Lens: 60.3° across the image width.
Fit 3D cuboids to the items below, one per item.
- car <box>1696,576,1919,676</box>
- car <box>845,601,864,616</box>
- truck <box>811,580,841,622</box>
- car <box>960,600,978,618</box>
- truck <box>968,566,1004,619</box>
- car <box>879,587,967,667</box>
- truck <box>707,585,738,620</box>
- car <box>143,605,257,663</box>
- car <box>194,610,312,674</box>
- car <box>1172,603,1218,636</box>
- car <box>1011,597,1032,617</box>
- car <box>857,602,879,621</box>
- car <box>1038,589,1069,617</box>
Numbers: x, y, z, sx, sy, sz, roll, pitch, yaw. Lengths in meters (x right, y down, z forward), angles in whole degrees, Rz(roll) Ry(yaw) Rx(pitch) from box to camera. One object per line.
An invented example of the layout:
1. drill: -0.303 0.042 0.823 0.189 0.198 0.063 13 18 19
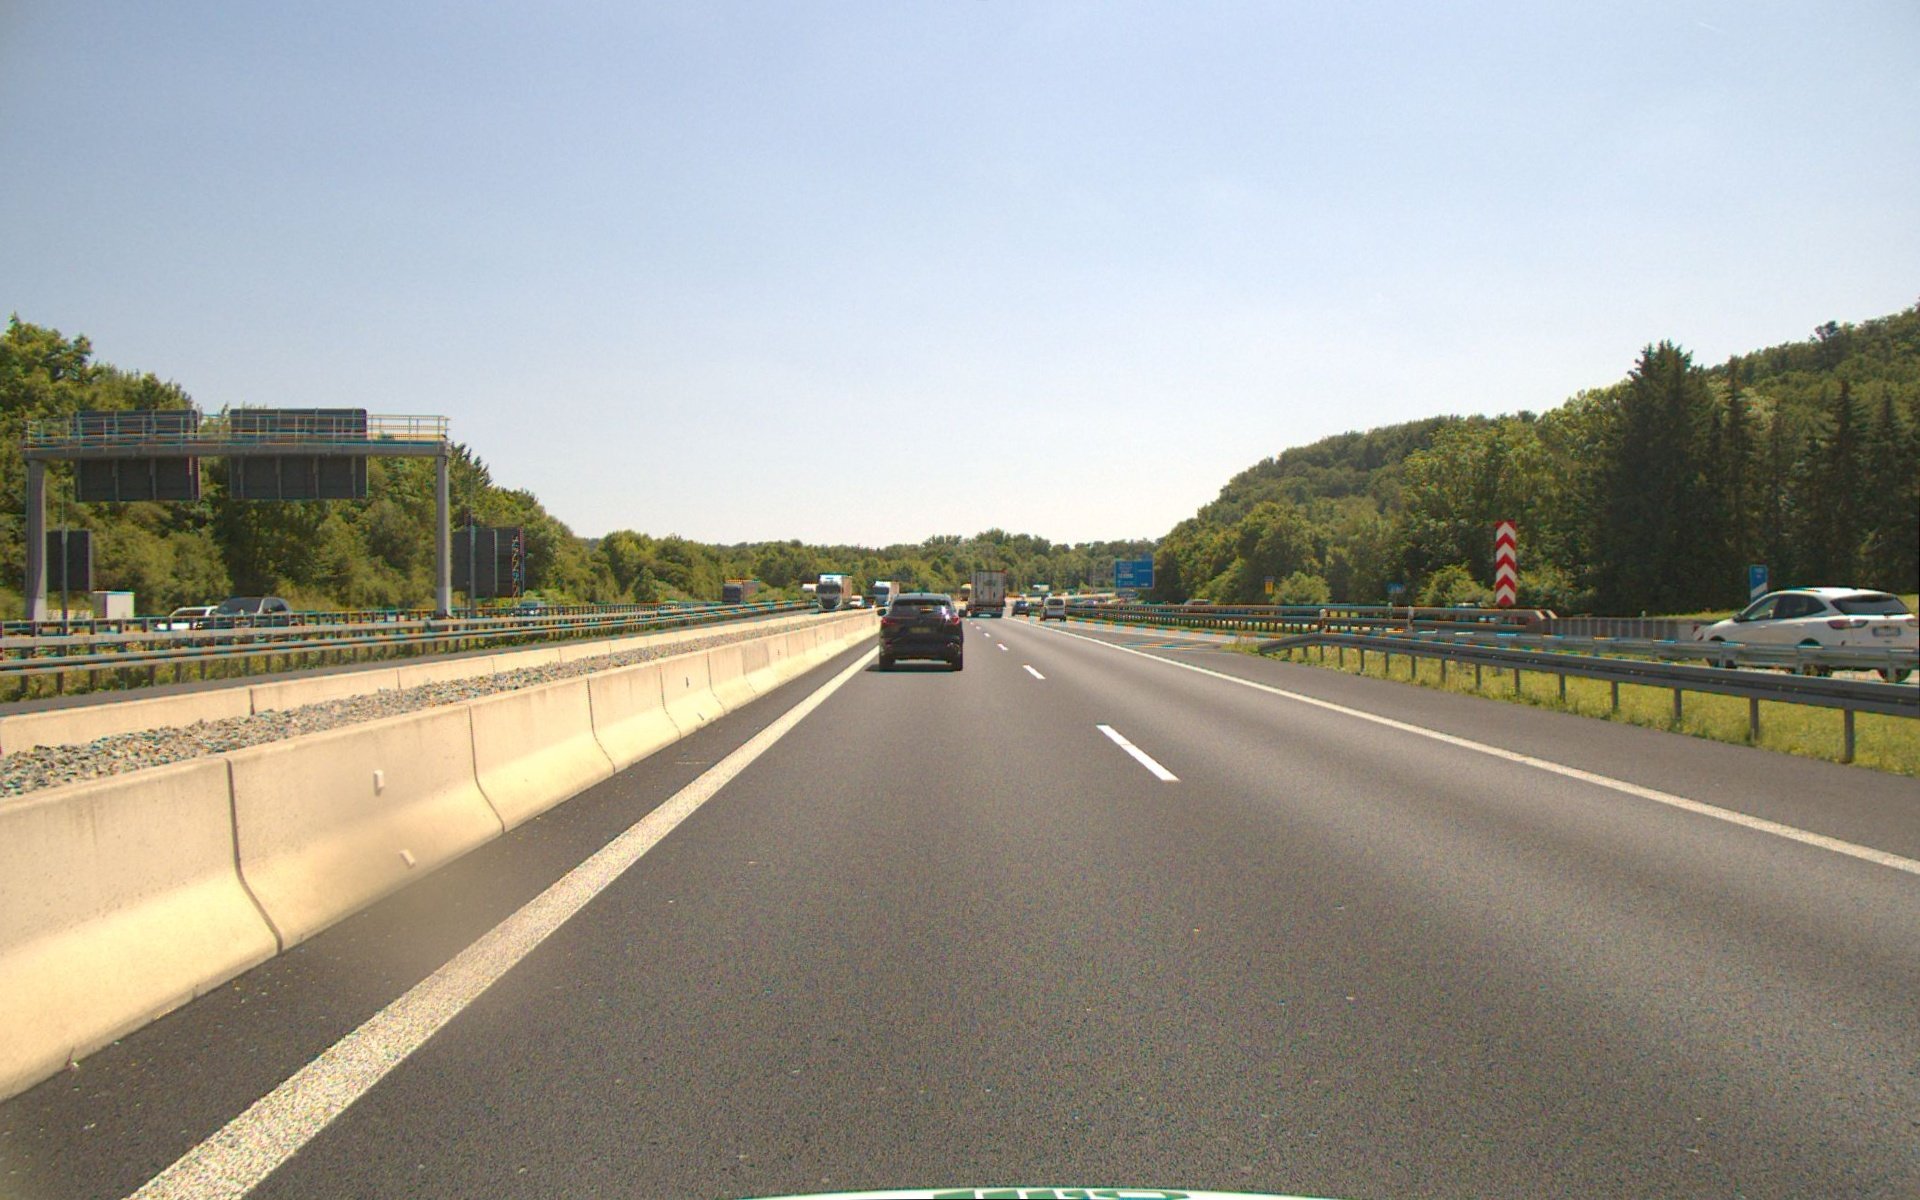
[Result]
1. car: 15.812 0.463 30.599 1.956 1.691 4.460 1 0 -7
2. car: -13.685 1.150 214.439 1.705 1.858 4.906 1 0 5
3. truck: -14.340 0.117 177.468 2.649 4.363 4.554 1 -1 2
4. car: 1.103 1.139 209.293 2.094 2.255 5.087 1 -1 -1
5. truck: 2.376 -0.612 147.066 2.969 4.496 12.021 1 0 2
6. car: -0.854 0.570 36.004 1.744 1.605 3.997 1 0 -3
7. truck: -30.145 0.393 210.338 2.751 4.347 5.001 1 -1 5
8. car: -28.357 1.255 61.878 1.906 2.049 4.764 1 -1 1
9. car: -24.237 1.405 56.892 1.906 2.049 4.764 1 -1 1
10. car: 15.230 1.256 107.340 1.956 2.049 3.994 -2 0 -7
11. car: 6.278 0.718 169.882 1.953 2.049 3.999 1 -1 0
12. car: -10.454 1.276 188.661 1.878 2.049 5.349 -1 0 4
13. car: 7.224 0.218 128.276 1.953 2.049 3.998 -2 0 -2
